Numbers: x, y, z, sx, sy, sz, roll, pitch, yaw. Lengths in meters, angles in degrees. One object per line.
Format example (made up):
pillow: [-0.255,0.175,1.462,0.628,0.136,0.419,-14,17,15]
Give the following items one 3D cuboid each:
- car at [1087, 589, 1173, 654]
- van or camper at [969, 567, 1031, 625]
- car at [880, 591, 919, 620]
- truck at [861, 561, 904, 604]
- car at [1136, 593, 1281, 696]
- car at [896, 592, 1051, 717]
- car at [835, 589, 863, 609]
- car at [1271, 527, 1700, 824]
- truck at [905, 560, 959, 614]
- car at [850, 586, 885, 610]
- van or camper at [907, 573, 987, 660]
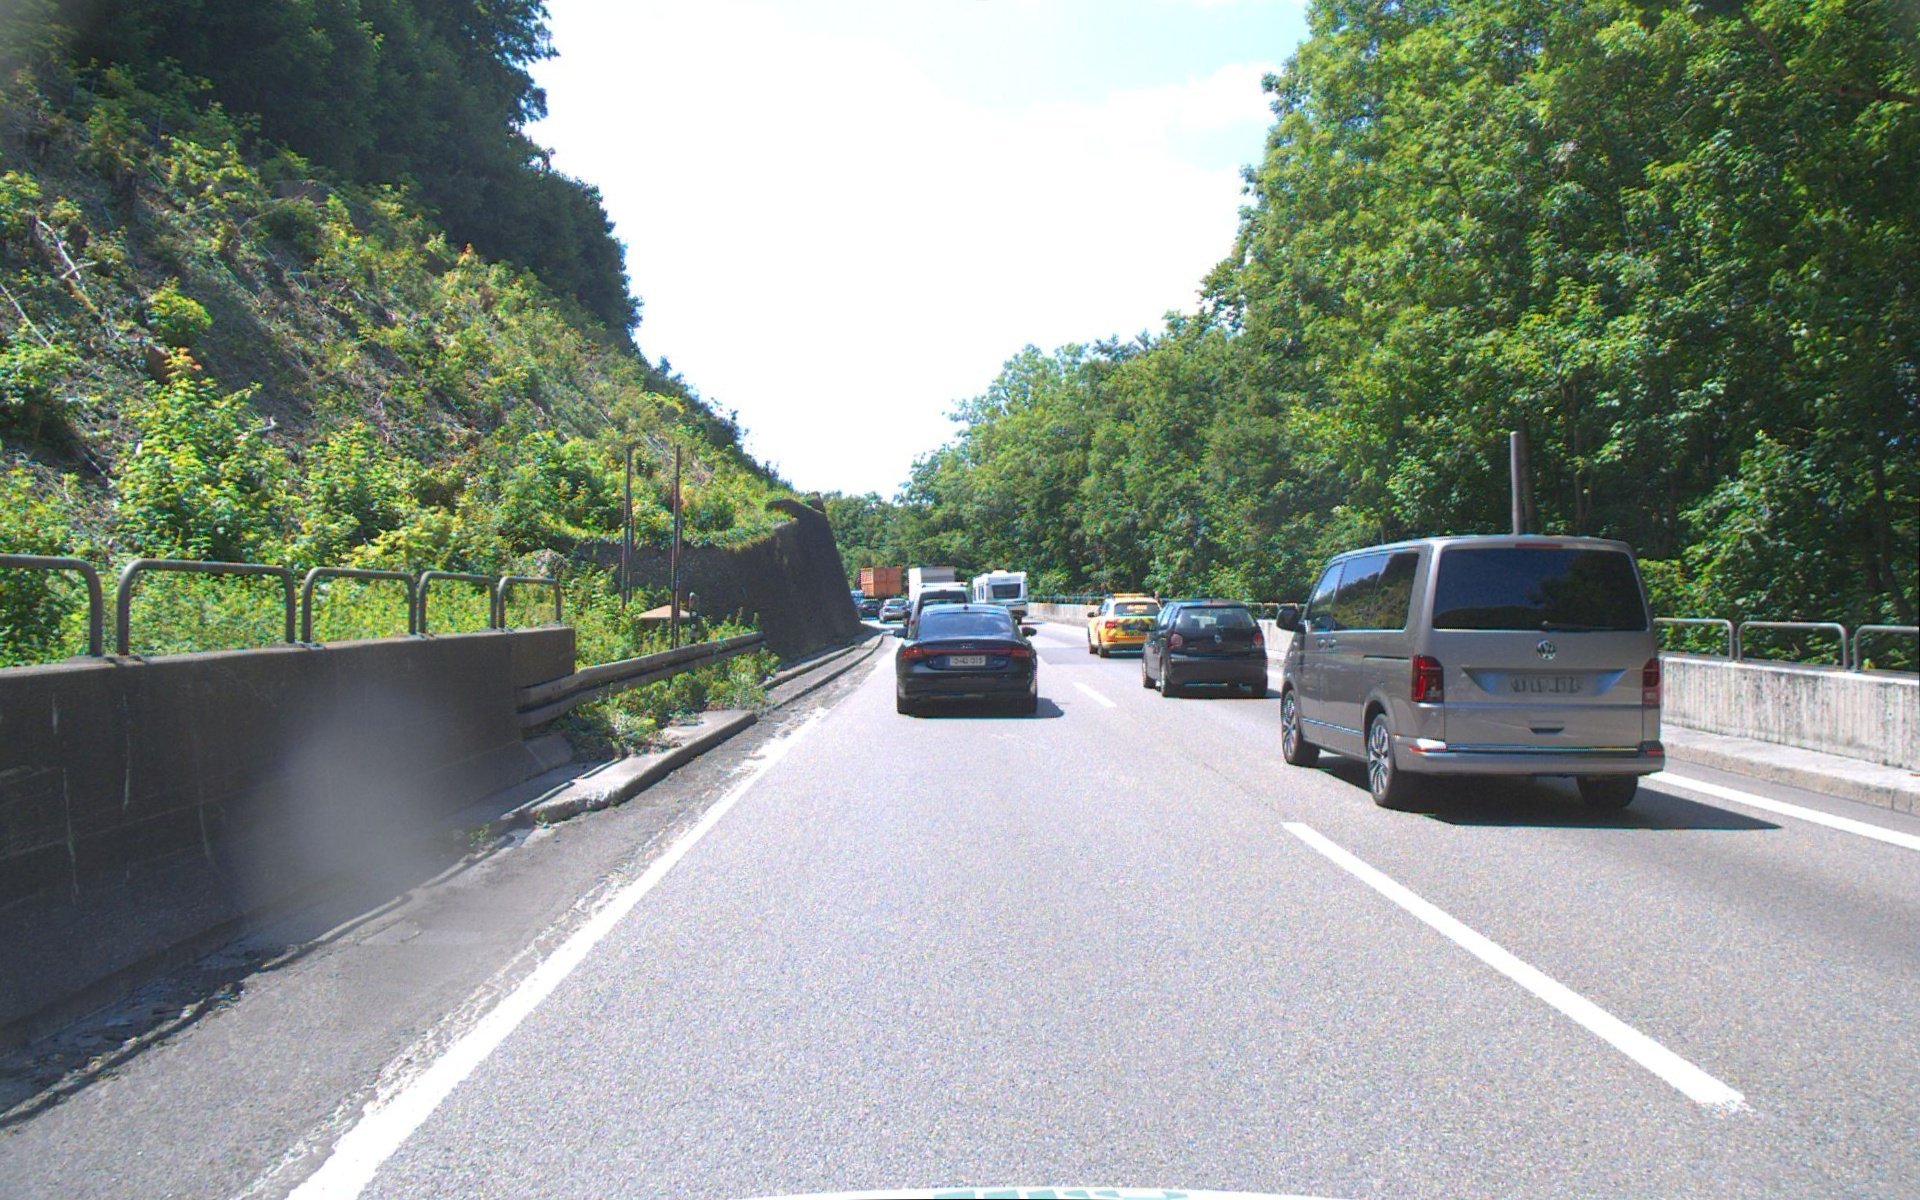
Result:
car: [4.247,0.495,41.821,1.771,1.503,4.082,2,0,1]
van or camper: [2.051,-0.232,86.560,2.552,2.905,6.330,1,0,-5]
car: [-3.780,0.334,102.681,1.956,1.646,3.993,1,1,-8]
truck: [-6.808,-1.505,144.790,3.103,3.528,8.210,2,0,-6]
car: [3.848,0.639,26.200,1.650,1.484,3.999,0,0,-1]
car: [0.090,0.668,22.678,1.867,1.515,4.377,0,1,-3]
car: [-8.833,-0.088,131.435,1.720,1.598,3.760,1,0,-12]
car: [3.975,0.487,13.461,1.901,1.965,4.693,1,1,-1]
truck: [-2.158,-0.985,122.307,2.871,3.751,7.709,2,0,-9]
car: [-6.547,-0.144,116.781,1.722,1.598,3.756,0,0,-15]
van or camper: [-0.315,0.371,40.921,1.815,1.976,4.165,2,0,0]
